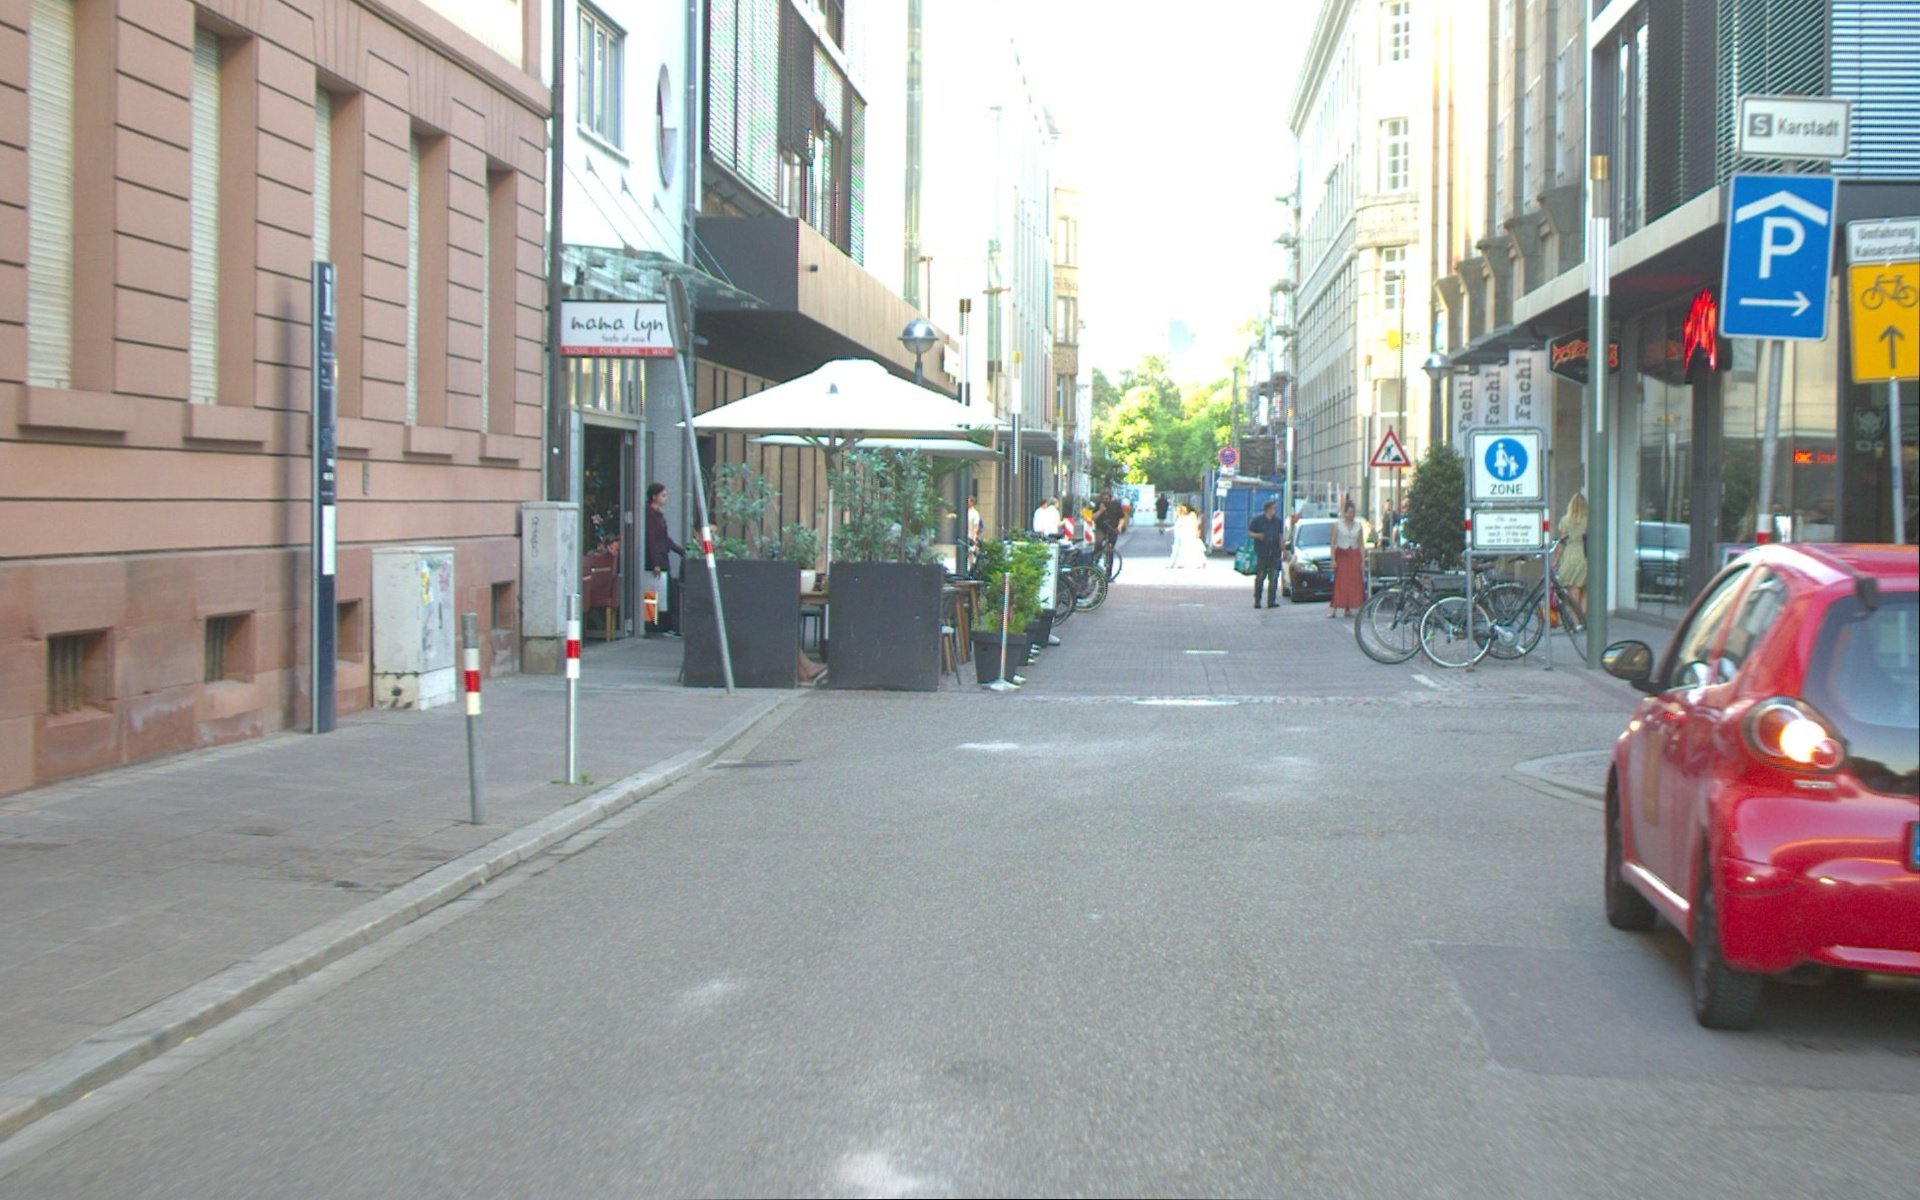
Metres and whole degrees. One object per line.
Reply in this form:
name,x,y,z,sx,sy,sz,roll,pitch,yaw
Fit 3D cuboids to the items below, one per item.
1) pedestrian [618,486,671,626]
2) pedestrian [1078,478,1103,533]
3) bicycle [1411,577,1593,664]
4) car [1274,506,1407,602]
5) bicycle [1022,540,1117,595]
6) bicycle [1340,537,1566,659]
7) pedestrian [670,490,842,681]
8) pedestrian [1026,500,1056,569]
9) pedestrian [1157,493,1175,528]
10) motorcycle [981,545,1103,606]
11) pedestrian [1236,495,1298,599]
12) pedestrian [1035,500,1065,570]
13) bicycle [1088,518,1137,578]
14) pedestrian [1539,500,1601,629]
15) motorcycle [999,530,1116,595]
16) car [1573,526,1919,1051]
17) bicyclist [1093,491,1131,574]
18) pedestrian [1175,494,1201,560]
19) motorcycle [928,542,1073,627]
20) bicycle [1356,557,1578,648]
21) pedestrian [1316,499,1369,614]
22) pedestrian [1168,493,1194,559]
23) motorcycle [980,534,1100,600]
pedestrian,-3.402,-0.477,37.048,0.491,1.482,0.566,1,1,2
pedestrian,3.879,-2.814,102.085,0.678,1.617,0.625,1,1,5
bicycle,4.956,0.185,31.461,1.565,0.766,0.557,1,1,0
car,6.627,-0.830,60.265,1.993,1.605,4.000,1,2,2
bicycle,1.830,-0.543,57.591,1.518,0.893,0.485,0,2,-24
bicycle,4.723,-0.022,33.019,2.052,1.130,0.649,1,1,0
pedestrian,-1.616,-0.124,27.369,1.290,1.482,0.661,1,1,2
pedestrian,1.901,-1.551,80.958,0.603,1.617,0.529,1,1,-7
pedestrian,9.965,-4.343,166.364,0.805,1.667,0.888,1,1,5
motorcycle,1.220,-0.371,51.312,1.801,0.872,0.560,1,1,0
pedestrian,5.122,-0.890,57.372,0.865,1.707,0.852,1,1,-5
pedestrian,2.103,-1.511,80.298,0.603,1.617,0.529,1,1,-7
bicycle,3.020,-1.039,68.270,0.636,1.153,2.502,1,2,-5
pedestrian,7.093,-0.413,40.002,0.657,1.482,0.493,1,1,6
motorcycle,1.530,-0.594,53.979,1.801,0.986,0.560,1,1,0
car,3.084,0.520,11.329,1.650,1.422,3.535,3,2,4
bicyclist,3.023,-1.354,68.382,0.636,1.635,0.772,1,1,-5
pedestrian,5.680,-1.817,85.486,0.604,1.617,0.529,1,1,5
motorcycle,0.506,-0.201,43.166,1.801,1.037,0.494,1,1,0
bicycle,5.260,0.021,35.741,2.200,0.902,0.649,1,1,0
pedestrian,5.407,-0.616,48.590,0.633,1.614,0.466,1,1,-5
pedestrian,5.528,-1.855,86.123,0.604,1.617,0.625,1,1,5
motorcycle,1.216,-0.505,52.342,1.801,0.986,0.560,1,1,0
